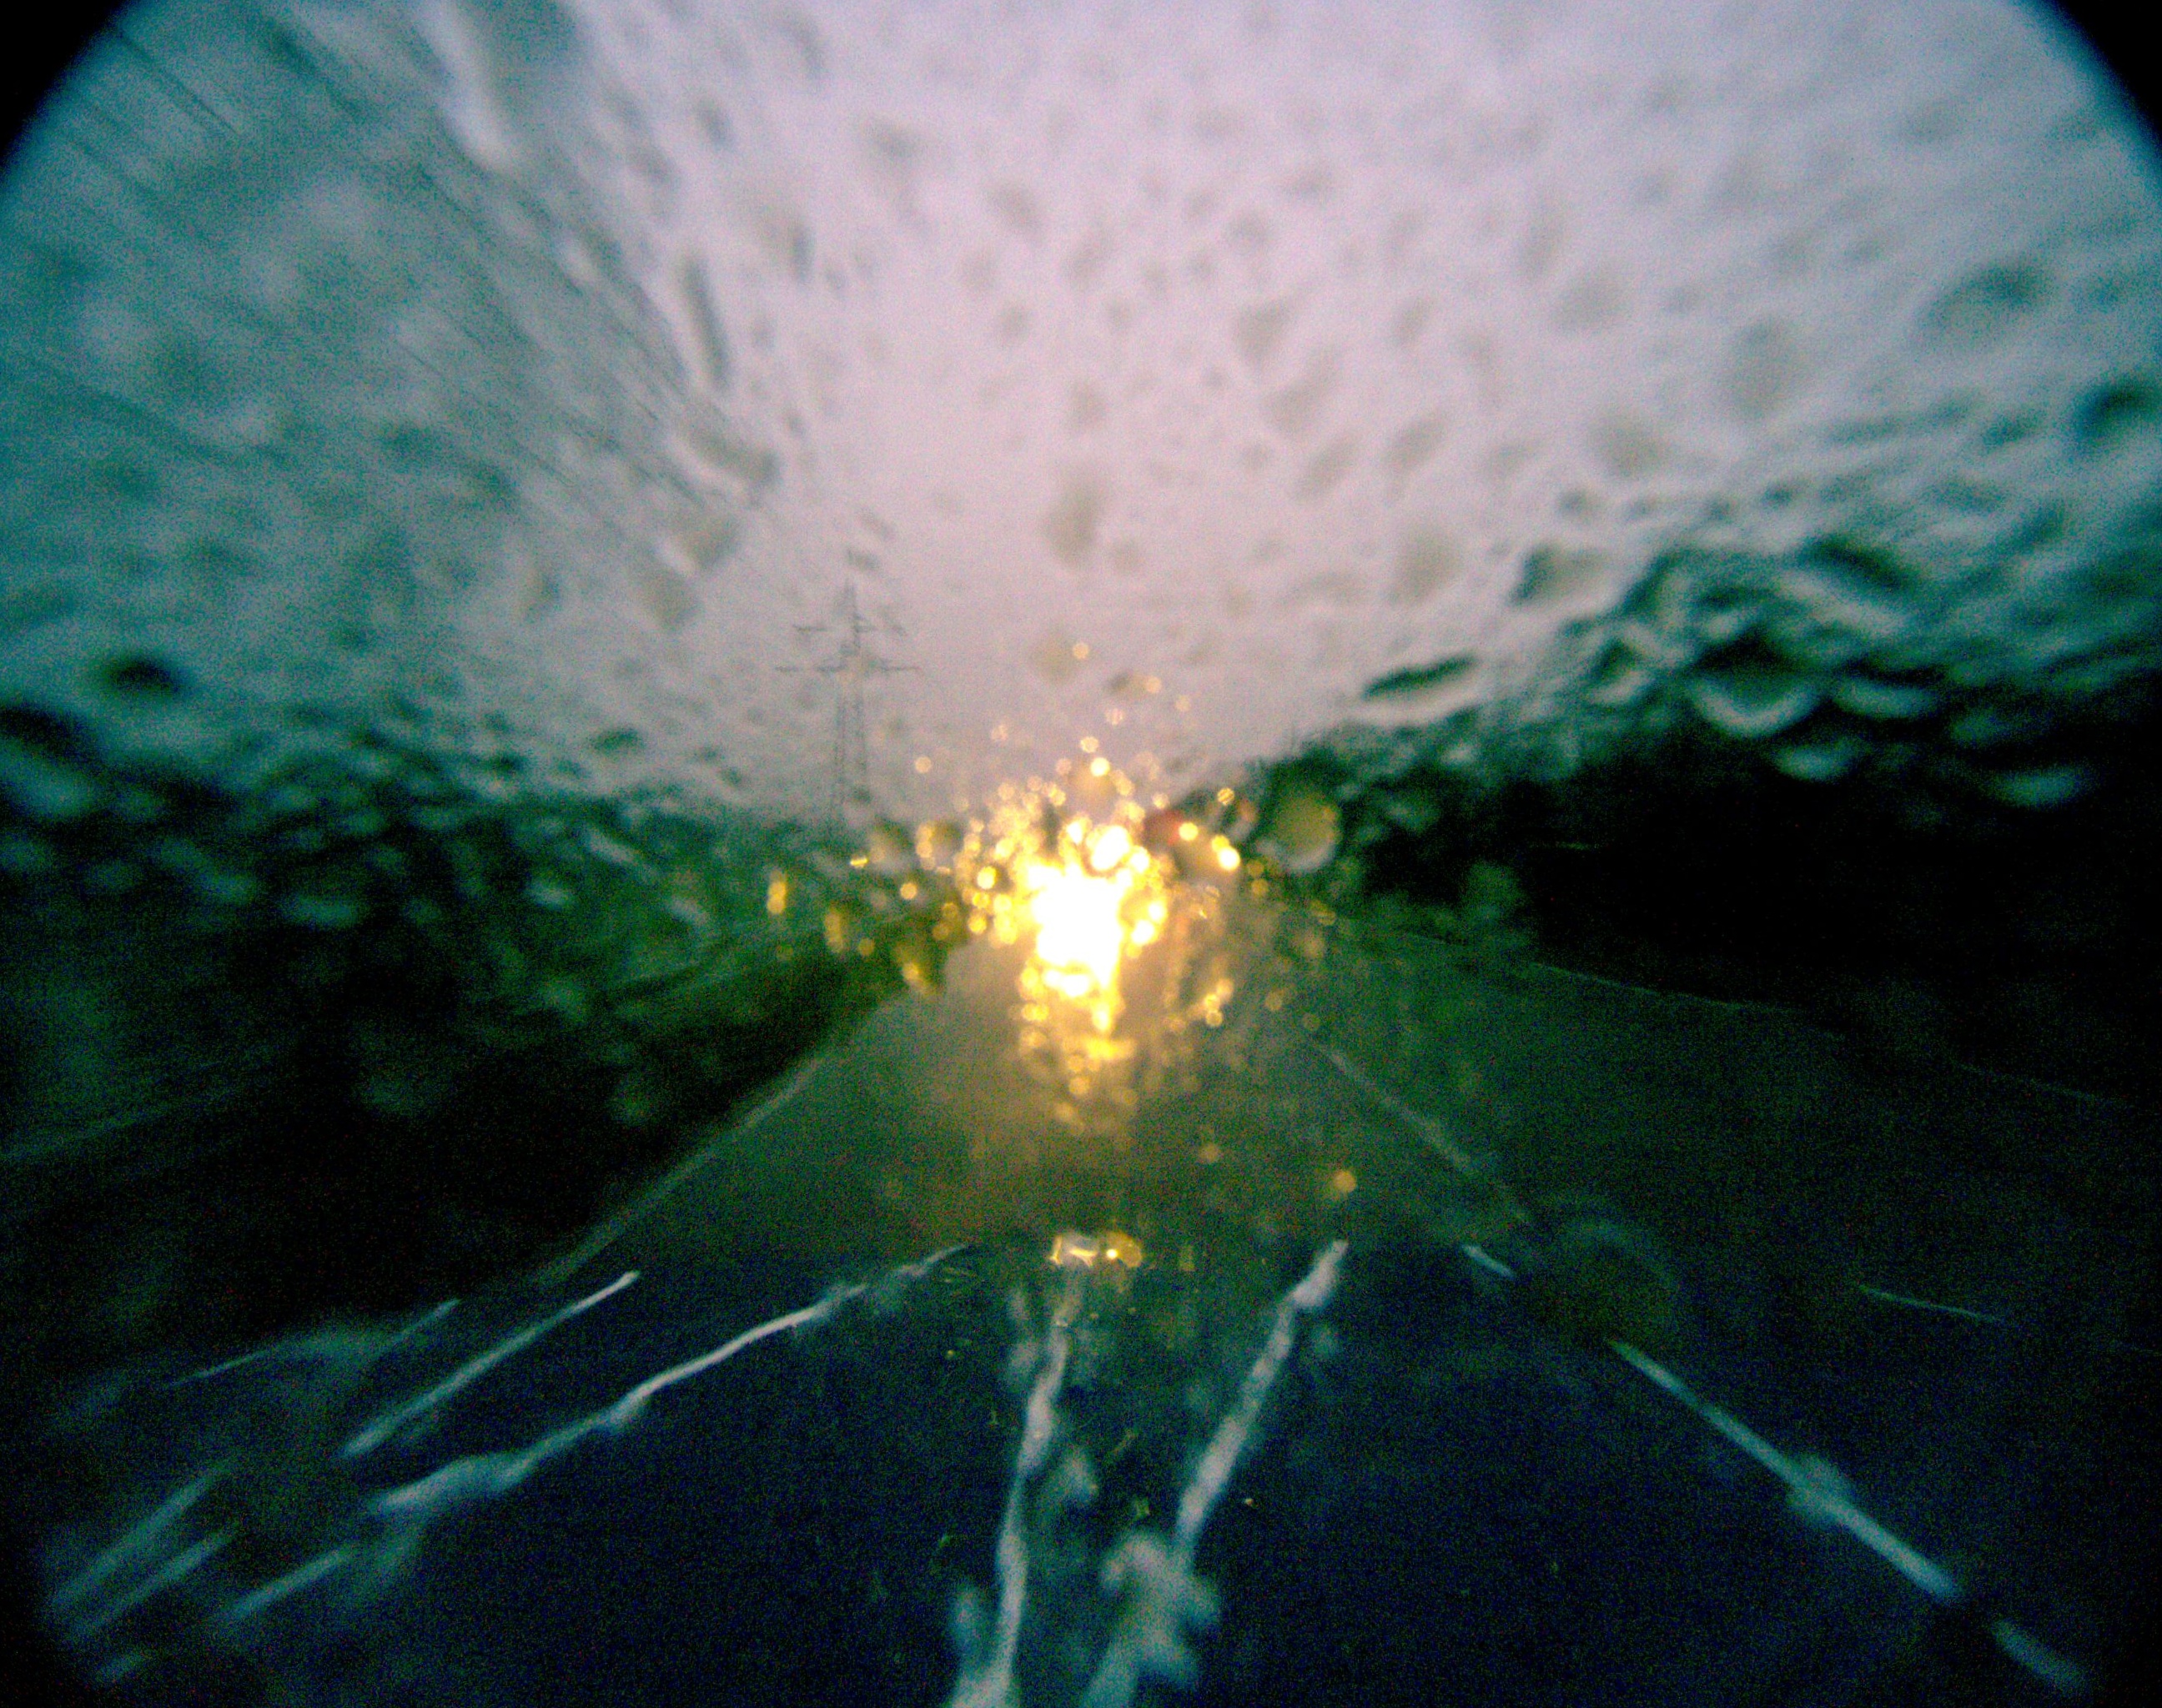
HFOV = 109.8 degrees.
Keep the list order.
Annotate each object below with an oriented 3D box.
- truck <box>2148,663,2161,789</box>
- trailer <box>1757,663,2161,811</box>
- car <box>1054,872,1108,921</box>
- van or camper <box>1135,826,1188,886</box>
[{"bbox_3d":[26.046,-2.956,14.885,2.456,2.870,5.583,-1,1,0],"label":"truck"},{"bbox_3d":[26.097,-3.006,22.443,2.442,2.874,11.084,-1,0,0],"label":"trailer"},{"bbox_3d":[0.075,1.618,30.044,1.910,1.653,4.000,0,1,3],"label":"car"},{"bbox_3d":[3.935,0.080,38.334,2.026,2.760,6.743,-1,0,1],"label":"van or camper"}]
